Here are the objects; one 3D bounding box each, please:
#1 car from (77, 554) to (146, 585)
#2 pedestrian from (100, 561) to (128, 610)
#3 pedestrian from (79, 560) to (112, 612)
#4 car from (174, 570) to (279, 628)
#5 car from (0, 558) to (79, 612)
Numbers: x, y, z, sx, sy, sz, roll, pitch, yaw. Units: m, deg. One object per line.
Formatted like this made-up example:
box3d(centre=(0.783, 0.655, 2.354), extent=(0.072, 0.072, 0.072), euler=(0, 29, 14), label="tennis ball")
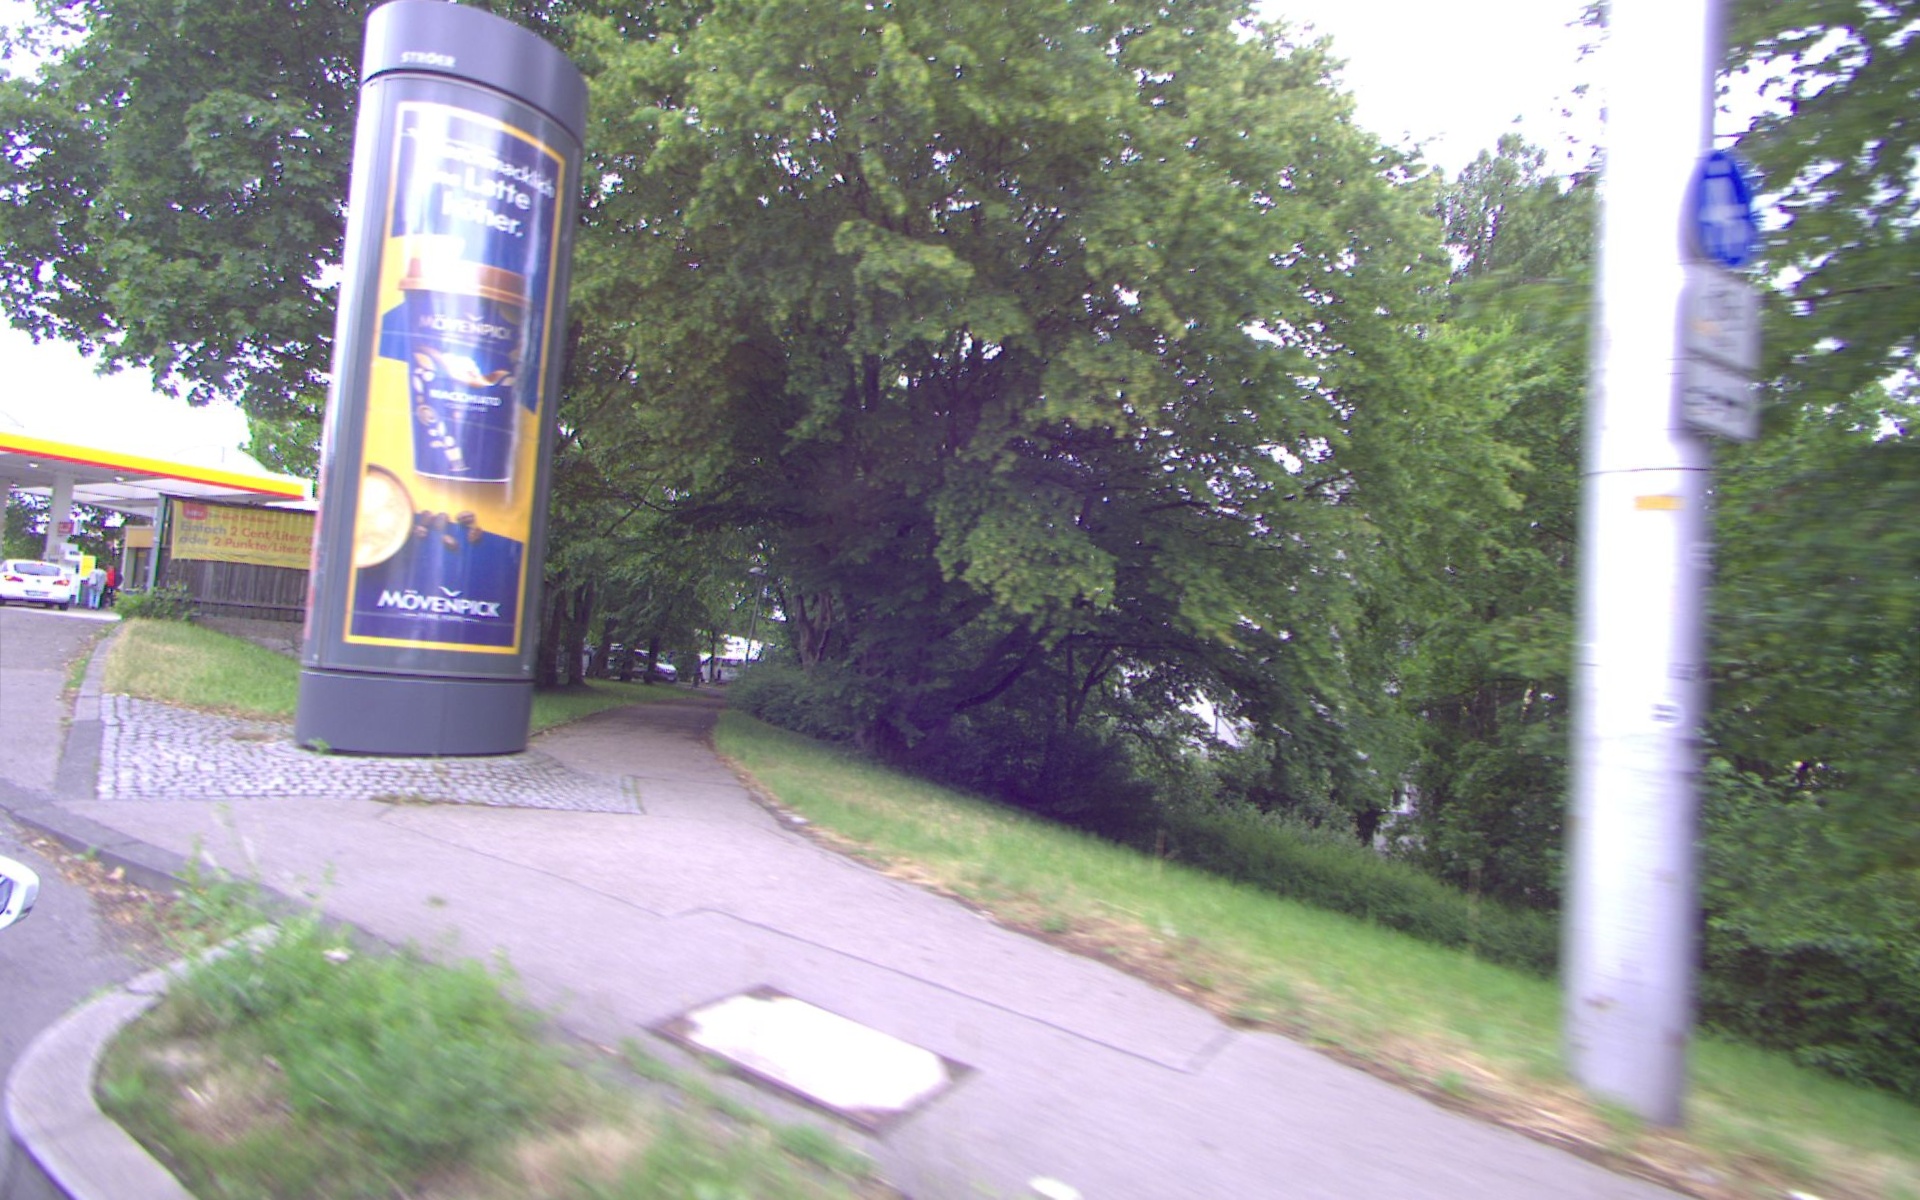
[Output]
box3d(centre=(-57.002, -2.046, 67.680), extent=(1.573, 1.361, 3.596), euler=(7, -7, -3), label="car")
box3d(centre=(-30.851, -0.530, 36.691), extent=(0.424, 1.724, 0.493), euler=(6, -1, 23), label="pedestrian")
box3d(centre=(-30.707, -0.491, 35.719), extent=(0.599, 1.724, 0.544), euler=(6, -1, 26), label="pedestrian")
box3d(centre=(-21.388, -0.005, 29.498), extent=(1.580, 1.449, 4.272), euler=(5, -3, -25), label="car")
box3d(centre=(-30.007, -0.501, 32.165), extent=(3.818, 1.503, 1.737), euler=(2, -3, 34), label="car")
